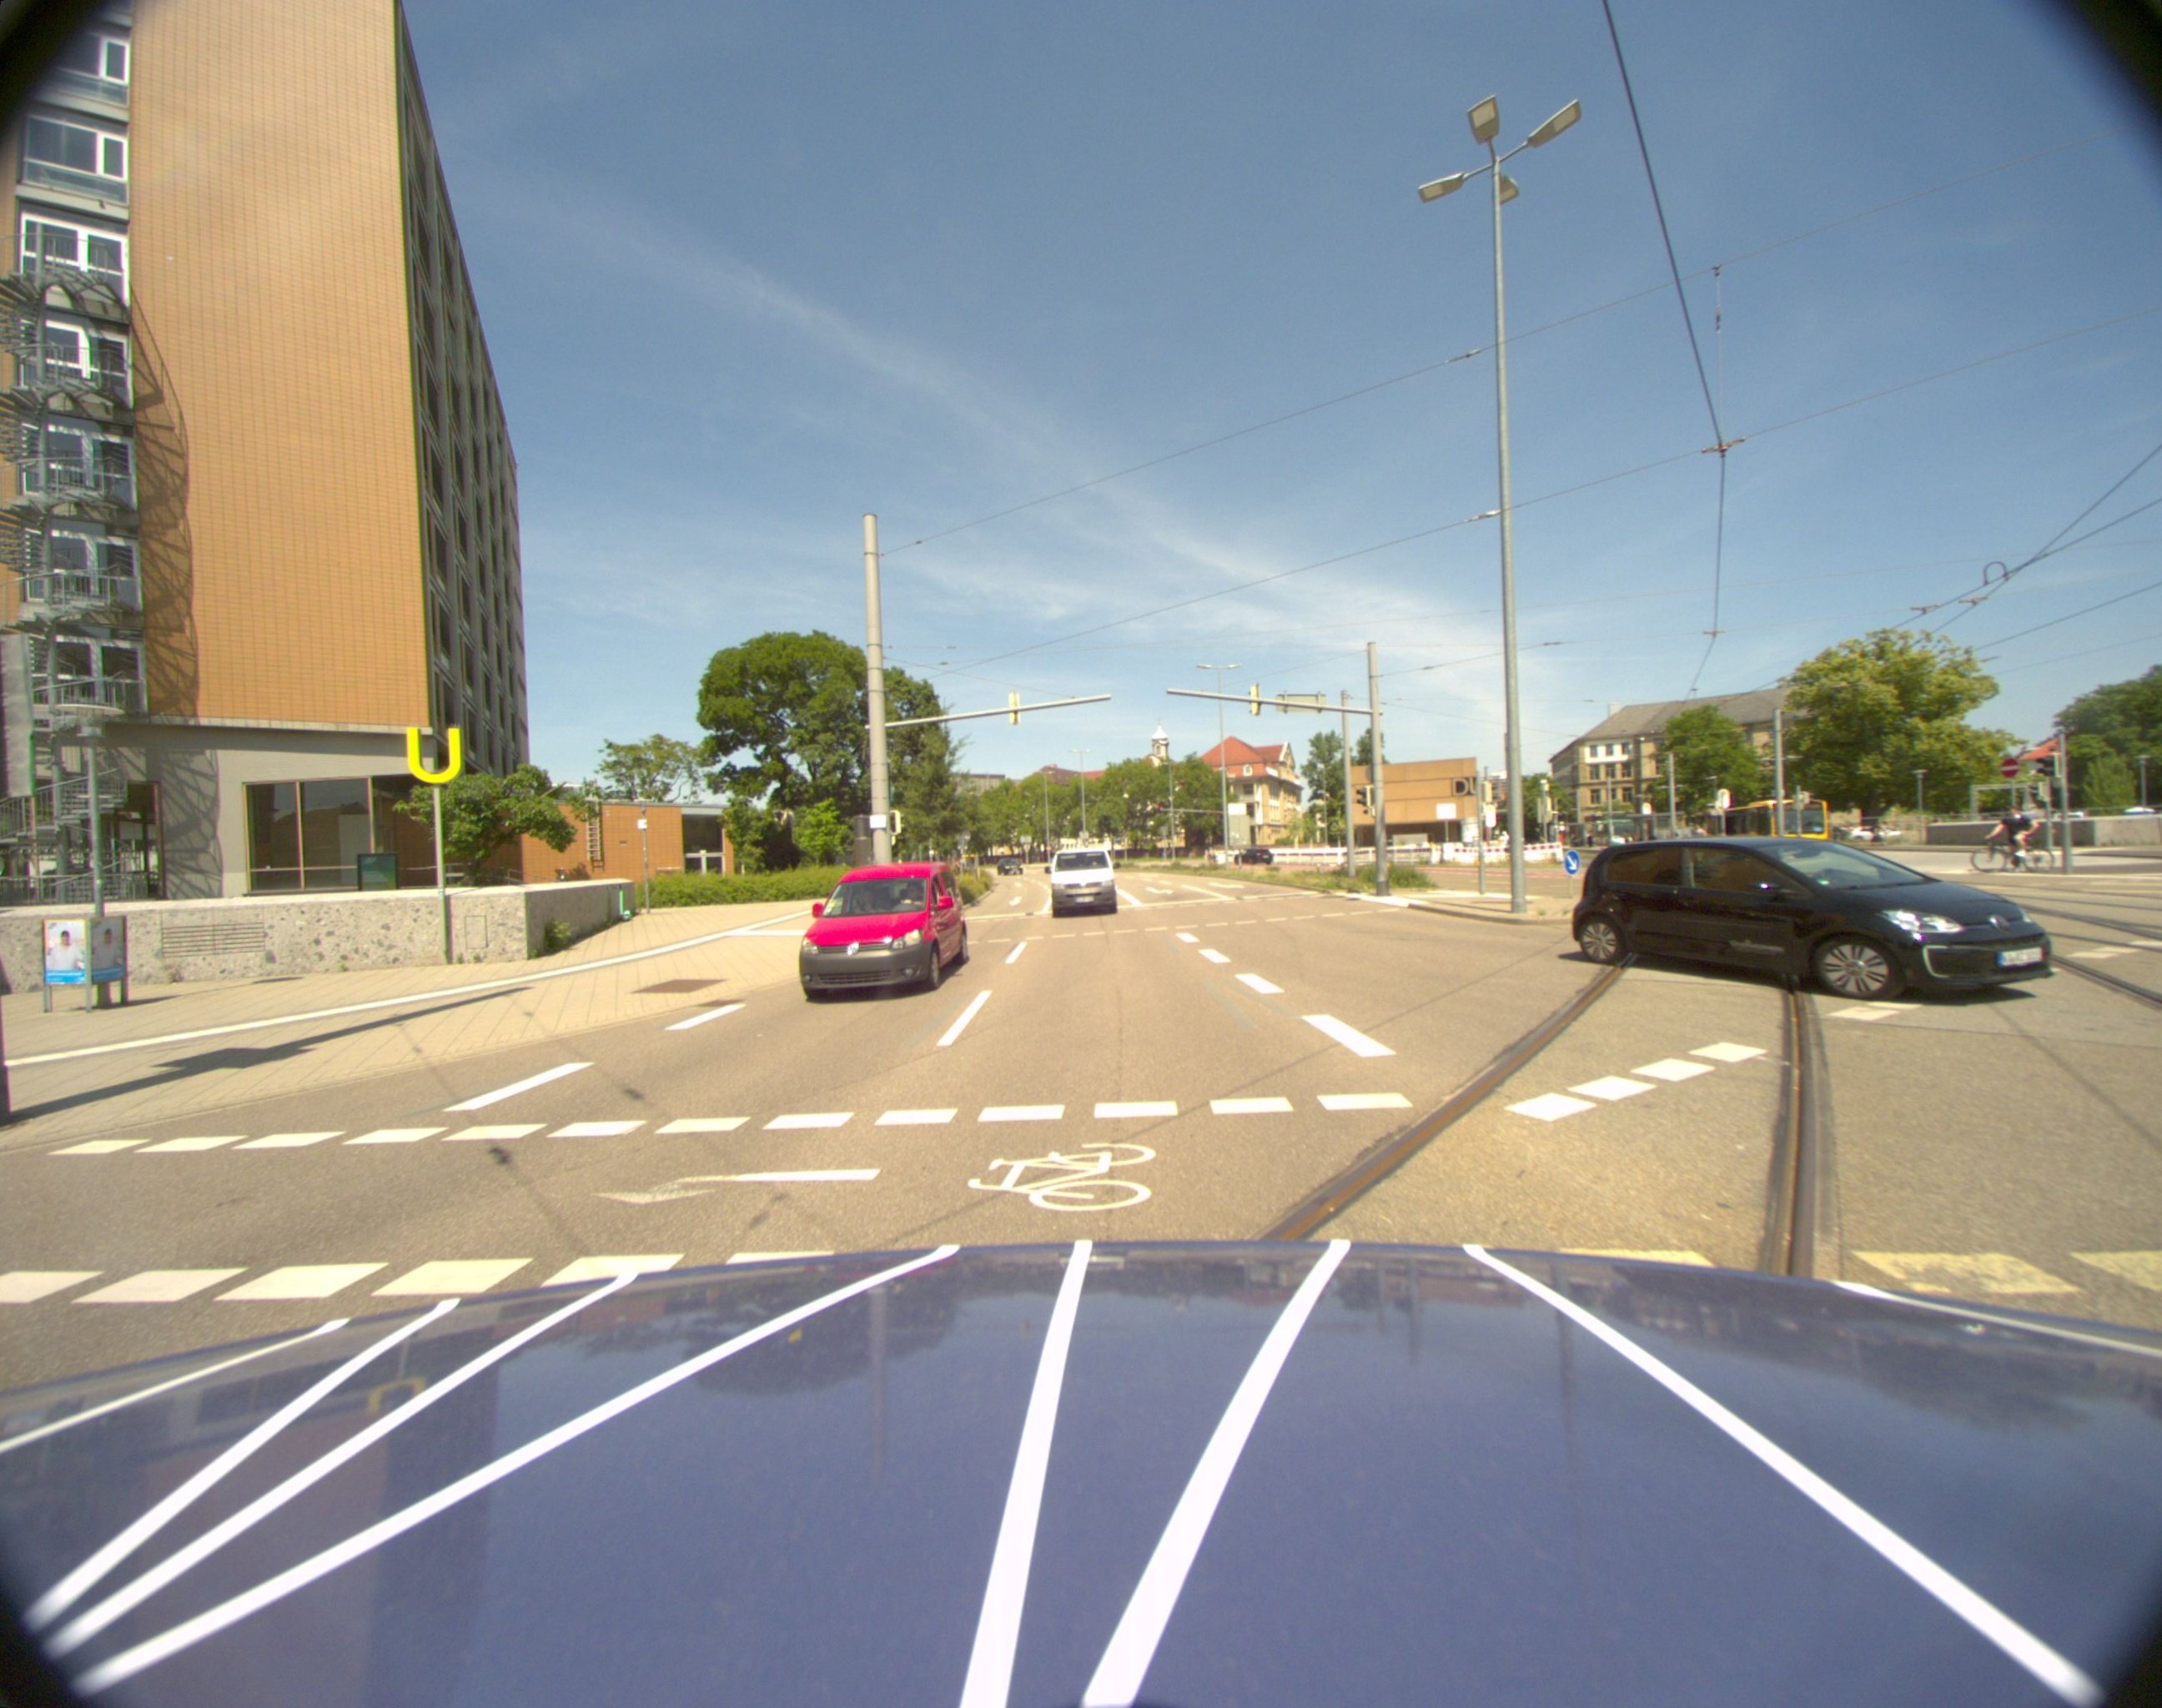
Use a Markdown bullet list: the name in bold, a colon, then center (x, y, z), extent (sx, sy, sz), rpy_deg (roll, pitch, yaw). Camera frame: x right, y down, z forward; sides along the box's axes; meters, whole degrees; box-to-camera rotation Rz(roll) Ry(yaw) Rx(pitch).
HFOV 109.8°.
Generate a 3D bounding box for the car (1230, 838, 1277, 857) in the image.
- **car**: center (15.038, -0.533, 66.353), extent (2.001, 1.456, 4.840), rpy_deg (-3, 0, -14)

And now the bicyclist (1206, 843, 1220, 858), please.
- **bicyclist**: center (12.492, -0.315, 71.792), extent (0.587, 1.348, 1.437), rpy_deg (-5, 1, -17)

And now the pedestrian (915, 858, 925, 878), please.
- **pedestrian**: center (-14.667, 1.272, 69.164), extent (0.728, 1.787, 0.613), rpy_deg (-3, 1, -1)

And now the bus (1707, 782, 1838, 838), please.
- **bus**: center (43.660, -2.599, 48.520), extent (2.850, 2.998, 12.240), rpy_deg (-2, 0, 26)

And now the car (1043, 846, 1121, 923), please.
- **car**: center (-0.011, 0.800, 23.048), extent (1.971, 1.958, 4.847), rpy_deg (-4, 1, -1)

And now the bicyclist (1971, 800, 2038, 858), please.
- **bicyclist**: center (25.719, -0.696, 21.163), extent (1.253, 1.521, 0.438), rpy_deg (-4, 2, 2)

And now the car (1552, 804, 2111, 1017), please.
- **car**: center (7.093, 0.431, 7.802), extent (1.749, 1.567, 3.734), rpy_deg (-3, 0, -10)

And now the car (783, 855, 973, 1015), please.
- **car**: center (-2.833, 1.003, 11.673), extent (1.655, 1.848, 4.545), rpy_deg (-4, 0, -1)

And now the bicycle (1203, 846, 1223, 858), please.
- **bicycle**: center (12.466, -0.183, 71.714), extent (0.879, 1.066, 2.229), rpy_deg (-5, 1, -17)

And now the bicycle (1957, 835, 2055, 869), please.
- **bicycle**: center (25.714, -0.058, 21.142), extent (1.898, 0.850, 0.628), rpy_deg (-3, 1, 2)

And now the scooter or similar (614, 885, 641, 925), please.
- **scooter or similar**: center (-14.272, 1.592, 23.935), extent (0.459, 1.164, 1.248), rpy_deg (-3, 1, -21)

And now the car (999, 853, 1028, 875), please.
- **car**: center (-6.799, 1.000, 76.411), extent (2.001, 2.002, 3.994), rpy_deg (-3, 0, -18)
